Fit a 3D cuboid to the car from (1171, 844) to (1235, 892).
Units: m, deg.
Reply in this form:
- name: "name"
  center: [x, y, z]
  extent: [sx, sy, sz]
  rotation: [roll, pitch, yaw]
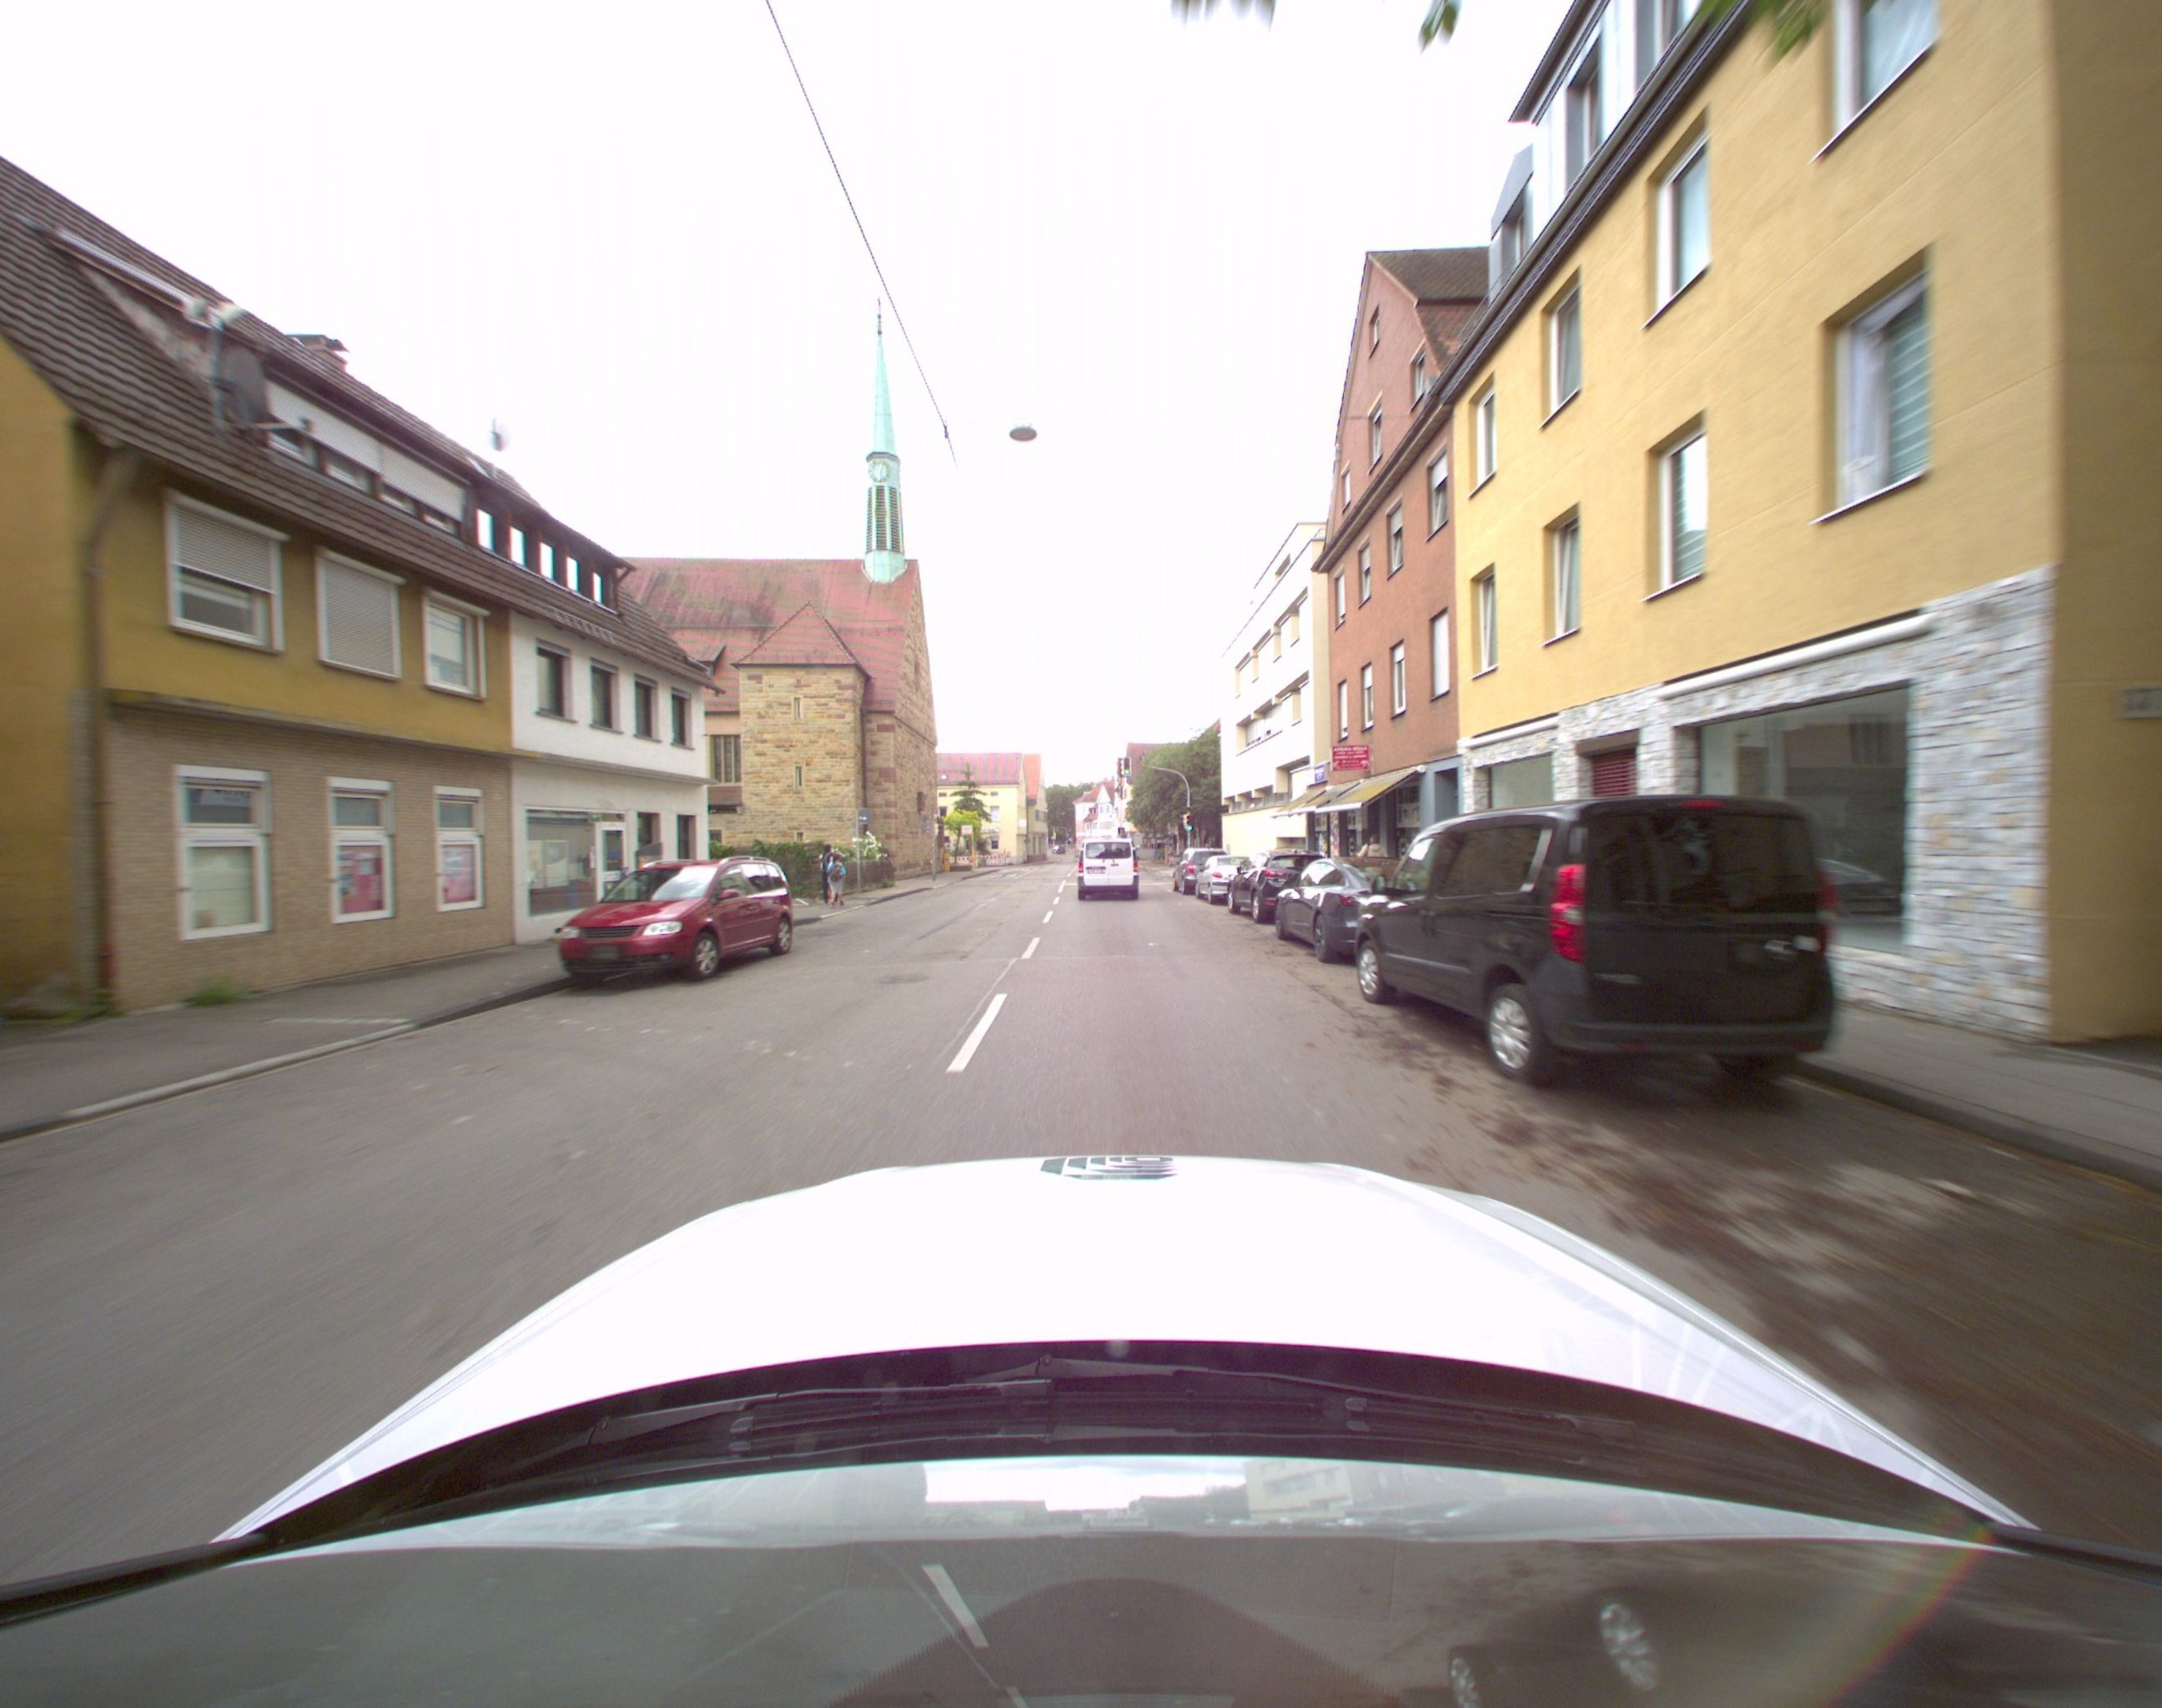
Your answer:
- name: "car"
  center: [4.225, 0.448, 28.764]
  extent: [1.706, 1.560, 3.785]
  rotation: [-1, 0, 0]

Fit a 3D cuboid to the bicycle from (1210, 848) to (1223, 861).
- name: "bicycle"
  center: [11.395, 0.038, 68.767]
  extent: [0.543, 1.069, 2.288]
  rotation: [-2, 0, -4]

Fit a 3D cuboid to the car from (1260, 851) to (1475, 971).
- name: "car"
  center: [4.013, 0.691, 12.254]
  extent: [1.744, 1.406, 4.513]
  rotation: [-2, 0, 2]

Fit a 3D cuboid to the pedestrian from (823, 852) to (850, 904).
- name: "pedestrian"
  center: [-7.405, 0.723, 24.714]
  extent: [0.569, 1.554, 0.697]
  rotation: [1, 1, 1]

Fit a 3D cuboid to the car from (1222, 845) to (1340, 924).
- name: "car"
  center: [4.340, 0.587, 18.307]
  extent: [1.596, 1.518, 4.209]
  rotation: [-2, 0, 0]

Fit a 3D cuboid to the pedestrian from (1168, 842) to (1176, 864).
- name: "pedestrian"
  center: [7.238, -0.078, 64.641]
  extent: [0.599, 1.715, 0.862]
  rotation: [-1, 0, 8]

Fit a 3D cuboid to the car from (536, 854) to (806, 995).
- name: "car"
  center: [-5.816, 0.867, 12.299]
  extent: [1.697, 1.574, 4.451]
  rotation: [-3, 1, 0]

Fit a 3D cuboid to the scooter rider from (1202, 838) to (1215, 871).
- name: "scooter rider"
  center: [6.609, 0.031, 42.223]
  extent: [0.453, 1.631, 0.502]
  rotation: [-3, -1, -14]

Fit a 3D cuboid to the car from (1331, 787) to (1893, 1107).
- name: "car"
  center: [3.679, 0.504, 6.797]
  extent: [1.814, 1.781, 4.402]
  rotation: [-1, 0, 0]

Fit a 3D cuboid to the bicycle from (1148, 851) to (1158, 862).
- name: "bicycle"
  center: [7.937, 0.284, 90.167]
  extent: [0.501, 1.106, 1.627]
  rotation: [-2, 0, -19]

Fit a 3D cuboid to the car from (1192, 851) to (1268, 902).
- name: "car"
  center: [4.321, 0.603, 24.115]
  extent: [1.546, 1.333, 3.812]
  rotation: [-1, 0, 0]

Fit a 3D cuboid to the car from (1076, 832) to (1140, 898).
- name: "car"
  center: [0.875, 0.322, 26.170]
  extent: [1.865, 1.912, 4.002]
  rotation: [-1, 0, 2]

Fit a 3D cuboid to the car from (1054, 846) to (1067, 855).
- name: "car"
  center: [-4.478, -0.789, 173.354]
  extent: [1.938, 2.013, 3.980]
  rotation: [0, 0, -14]

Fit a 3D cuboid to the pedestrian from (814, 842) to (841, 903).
- name: "pedestrian"
  center: [-7.977, 0.571, 25.618]
  extent: [0.569, 1.848, 0.697]
  rotation: [2, 1, 1]

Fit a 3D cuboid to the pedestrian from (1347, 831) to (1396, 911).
- name: "pedestrian"
  center: [6.191, 0.349, 17.382]
  extent: [0.698, 1.649, 0.889]
  rotation: [-2, 1, 0]
